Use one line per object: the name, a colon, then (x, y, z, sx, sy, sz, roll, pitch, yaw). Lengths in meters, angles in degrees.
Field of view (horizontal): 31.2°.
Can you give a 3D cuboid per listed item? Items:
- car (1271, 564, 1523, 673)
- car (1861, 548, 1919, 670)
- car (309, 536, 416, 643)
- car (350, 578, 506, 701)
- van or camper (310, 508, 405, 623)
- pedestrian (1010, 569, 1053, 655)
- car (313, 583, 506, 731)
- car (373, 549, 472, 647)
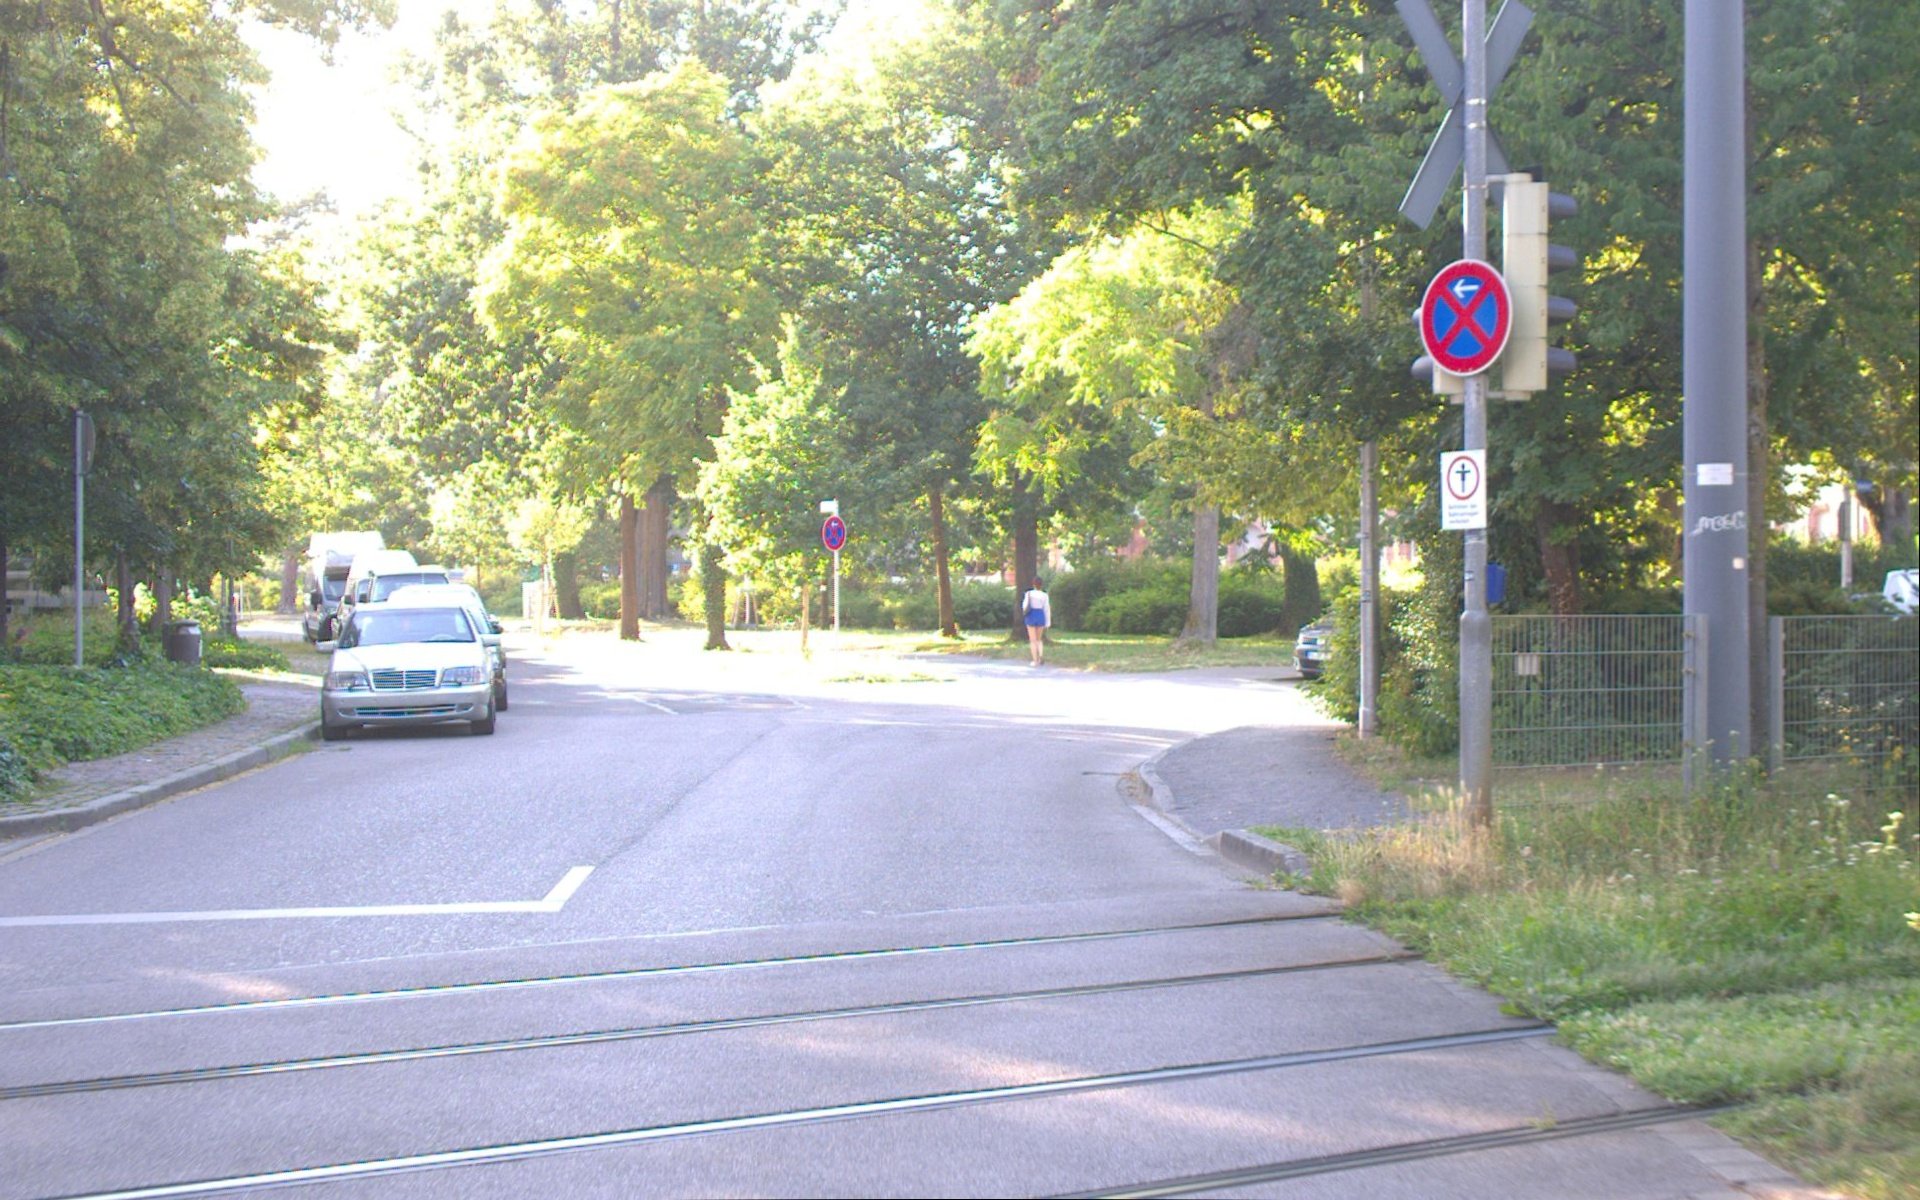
car: (7.229, 0.283, 56.640, 4.309, 1.670, 1.806, 0, 2, -45)
car: (17.563, 0.147, 58.817, 1.957, 2.007, 5.140, 1, 1, 43)
car: (-13.682, -0.257, 78.538, 1.850, 2.348, 5.188, 0, 0, -16)
car: (-6.825, 0.464, 44.025, 1.824, 1.411, 4.496, -2, 1, -9)
van or camper: (-15.809, -0.894, 89.982, 2.089, 2.898, 6.334, 0, 0, -13)
pedestrian: (1.317, 0.215, 63.423, 0.773, 1.569, 0.768, 0, 0, -1)
car: (-5.856, 0.564, 36.983, 1.779, 1.411, 4.499, -2, 1, -6)
car: (-11.041, -0.064, 70.392, 1.850, 1.939, 4.842, 0, 0, -11)
